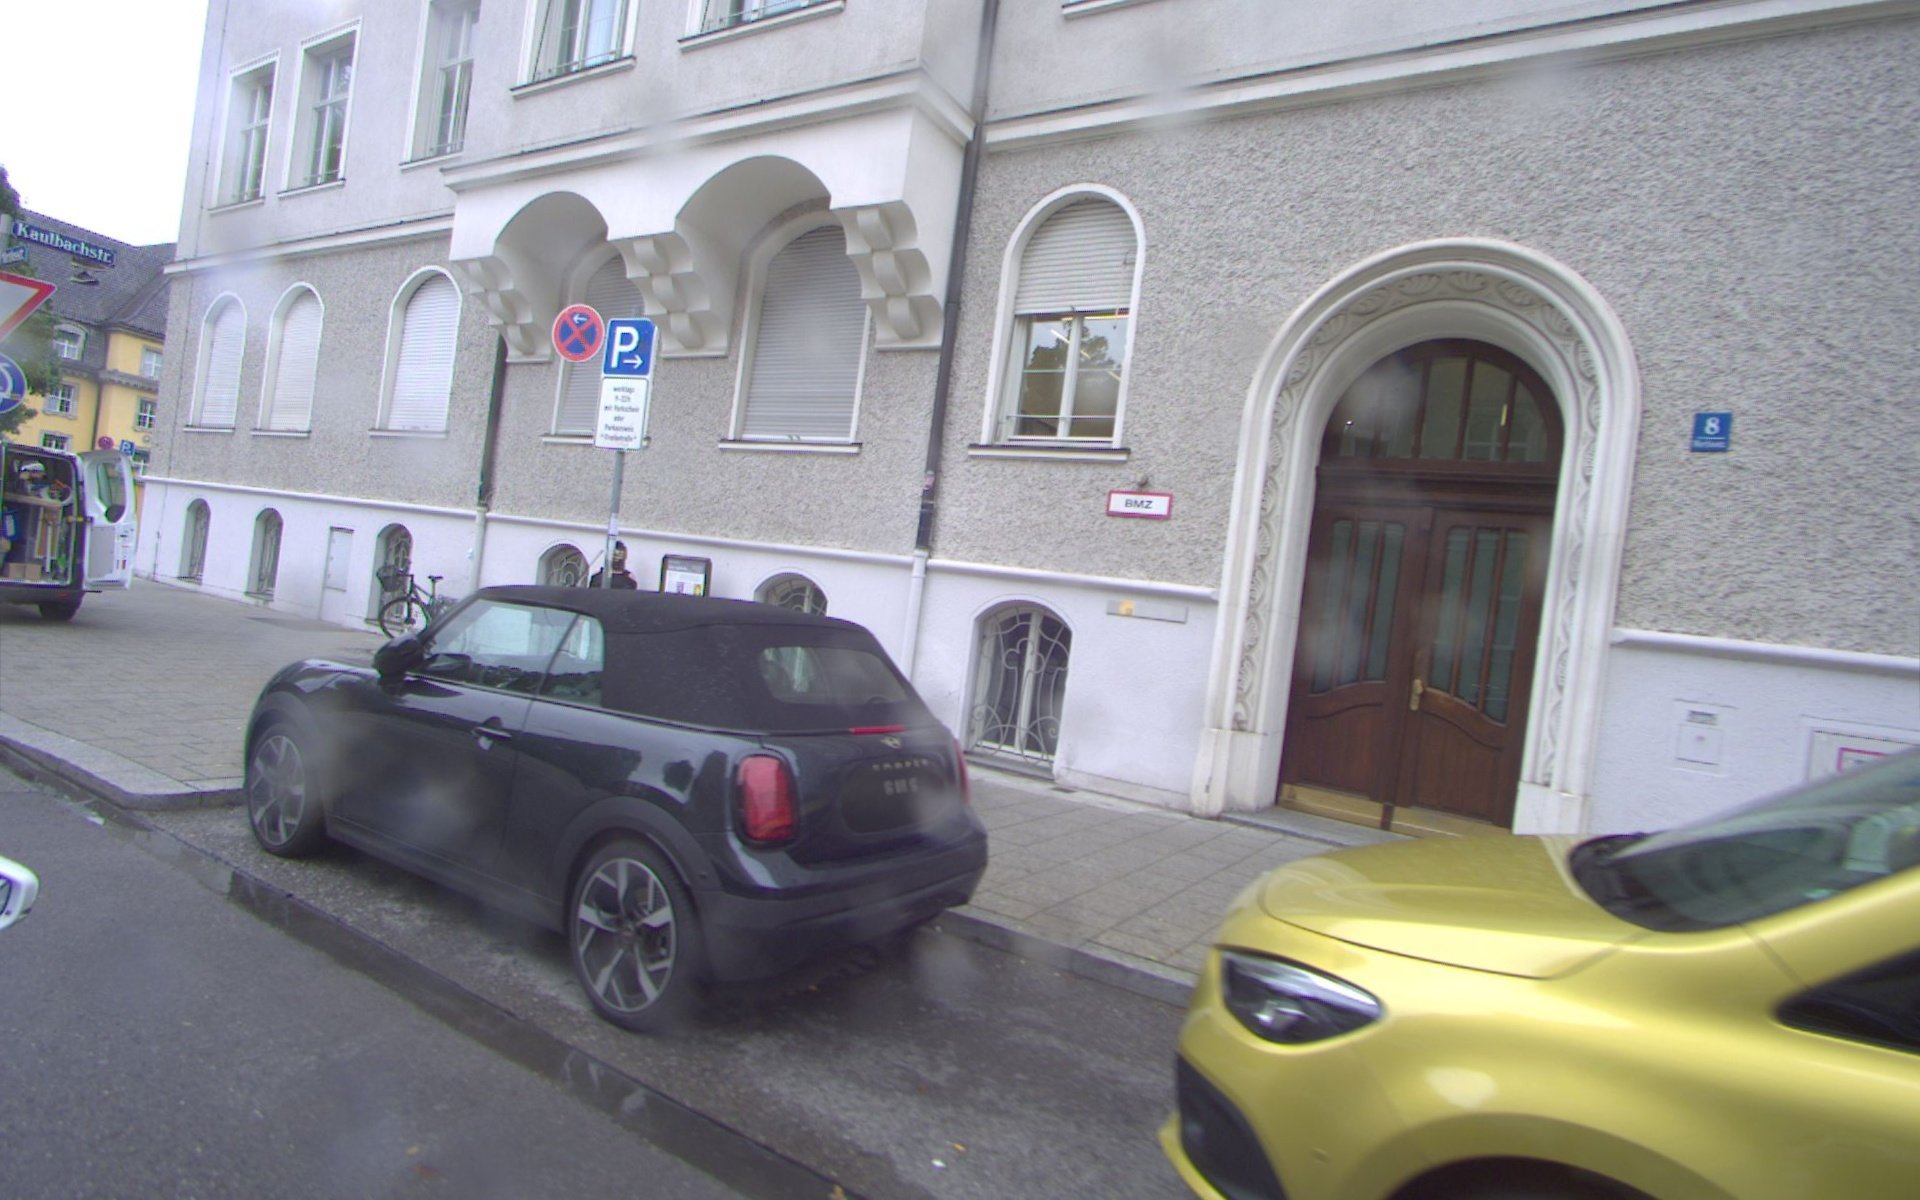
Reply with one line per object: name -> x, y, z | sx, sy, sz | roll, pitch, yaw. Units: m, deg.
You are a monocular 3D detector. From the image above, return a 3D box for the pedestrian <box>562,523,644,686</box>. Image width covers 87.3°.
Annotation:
pedestrian -> -4.065, 0.053, 11.503 | 0.724, 1.760, 0.691 | 3, 2, -14

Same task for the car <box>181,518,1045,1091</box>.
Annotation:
car -> -1.759, 0.599, 4.721 | 3.831, 1.475, 1.666 | 7, 0, 32

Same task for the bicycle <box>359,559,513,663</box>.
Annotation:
bicycle -> -6.985, 0.128, 13.359 | 2.245, 1.108, 0.694 | 7, 2, 32

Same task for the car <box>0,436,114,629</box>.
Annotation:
car -> -12.144, -0.979, 11.673 | 4.843, 1.986, 1.918 | 7, 1, 30

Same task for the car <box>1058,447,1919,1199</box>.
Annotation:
car -> 2.761, 0.922, 1.670 | 4.743, 1.875, 1.852 | 7, 0, 34
